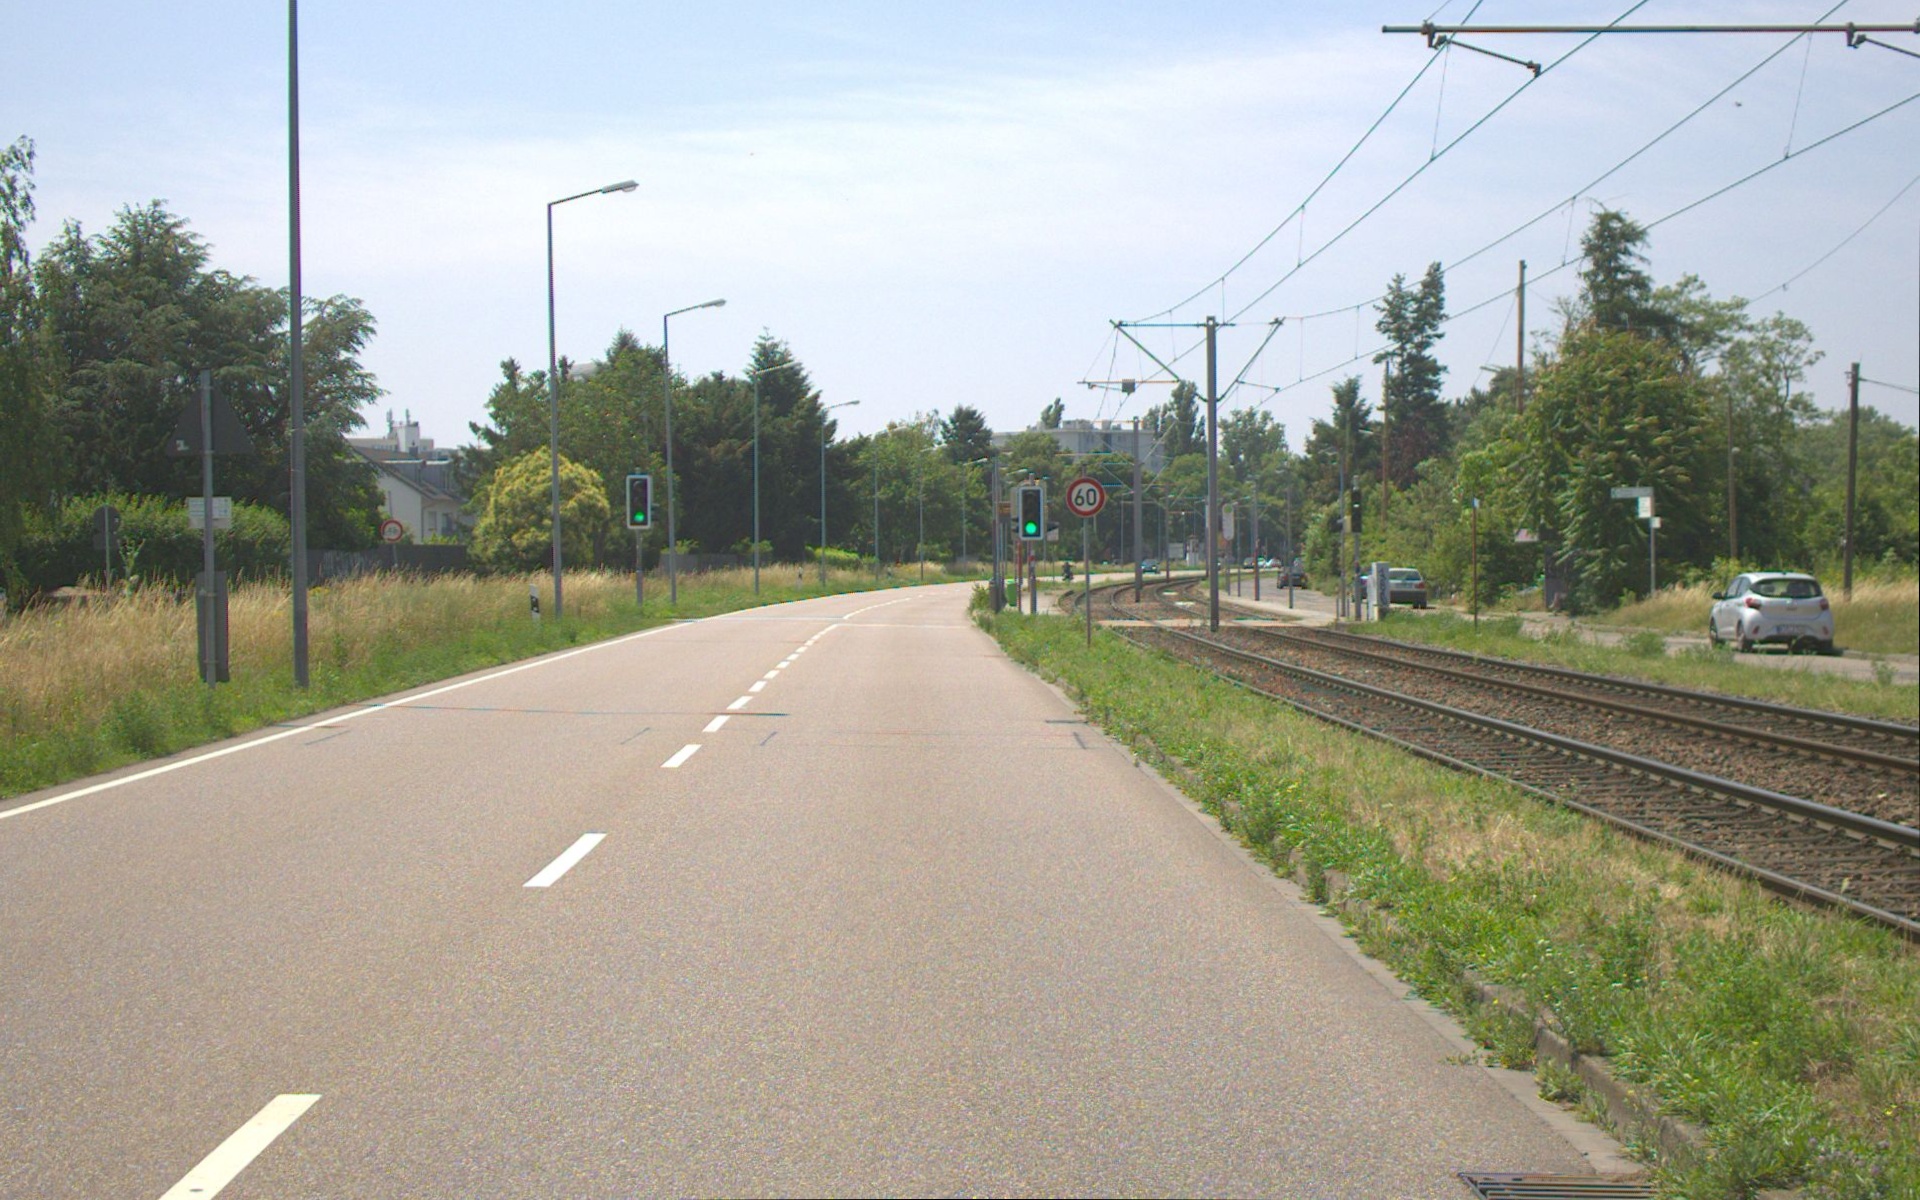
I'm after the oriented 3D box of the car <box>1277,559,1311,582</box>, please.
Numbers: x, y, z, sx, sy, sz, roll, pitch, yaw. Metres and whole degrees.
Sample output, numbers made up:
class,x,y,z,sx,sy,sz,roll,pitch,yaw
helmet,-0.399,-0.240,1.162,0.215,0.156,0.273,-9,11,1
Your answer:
class,x,y,z,sx,sy,sz,roll,pitch,yaw
car,20.253,-1.805,208.800,1.861,1.325,4.515,1,1,3

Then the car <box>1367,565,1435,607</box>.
class,x,y,z,sx,sy,sz,roll,pitch,yaw
car,15.415,-0.507,120.250,1.939,1.417,4.000,1,1,1

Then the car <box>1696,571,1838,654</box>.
class,x,y,z,sx,sy,sz,roll,pitch,yaw
car,15.158,0.207,64.746,1.713,1.483,4.001,1,1,0
